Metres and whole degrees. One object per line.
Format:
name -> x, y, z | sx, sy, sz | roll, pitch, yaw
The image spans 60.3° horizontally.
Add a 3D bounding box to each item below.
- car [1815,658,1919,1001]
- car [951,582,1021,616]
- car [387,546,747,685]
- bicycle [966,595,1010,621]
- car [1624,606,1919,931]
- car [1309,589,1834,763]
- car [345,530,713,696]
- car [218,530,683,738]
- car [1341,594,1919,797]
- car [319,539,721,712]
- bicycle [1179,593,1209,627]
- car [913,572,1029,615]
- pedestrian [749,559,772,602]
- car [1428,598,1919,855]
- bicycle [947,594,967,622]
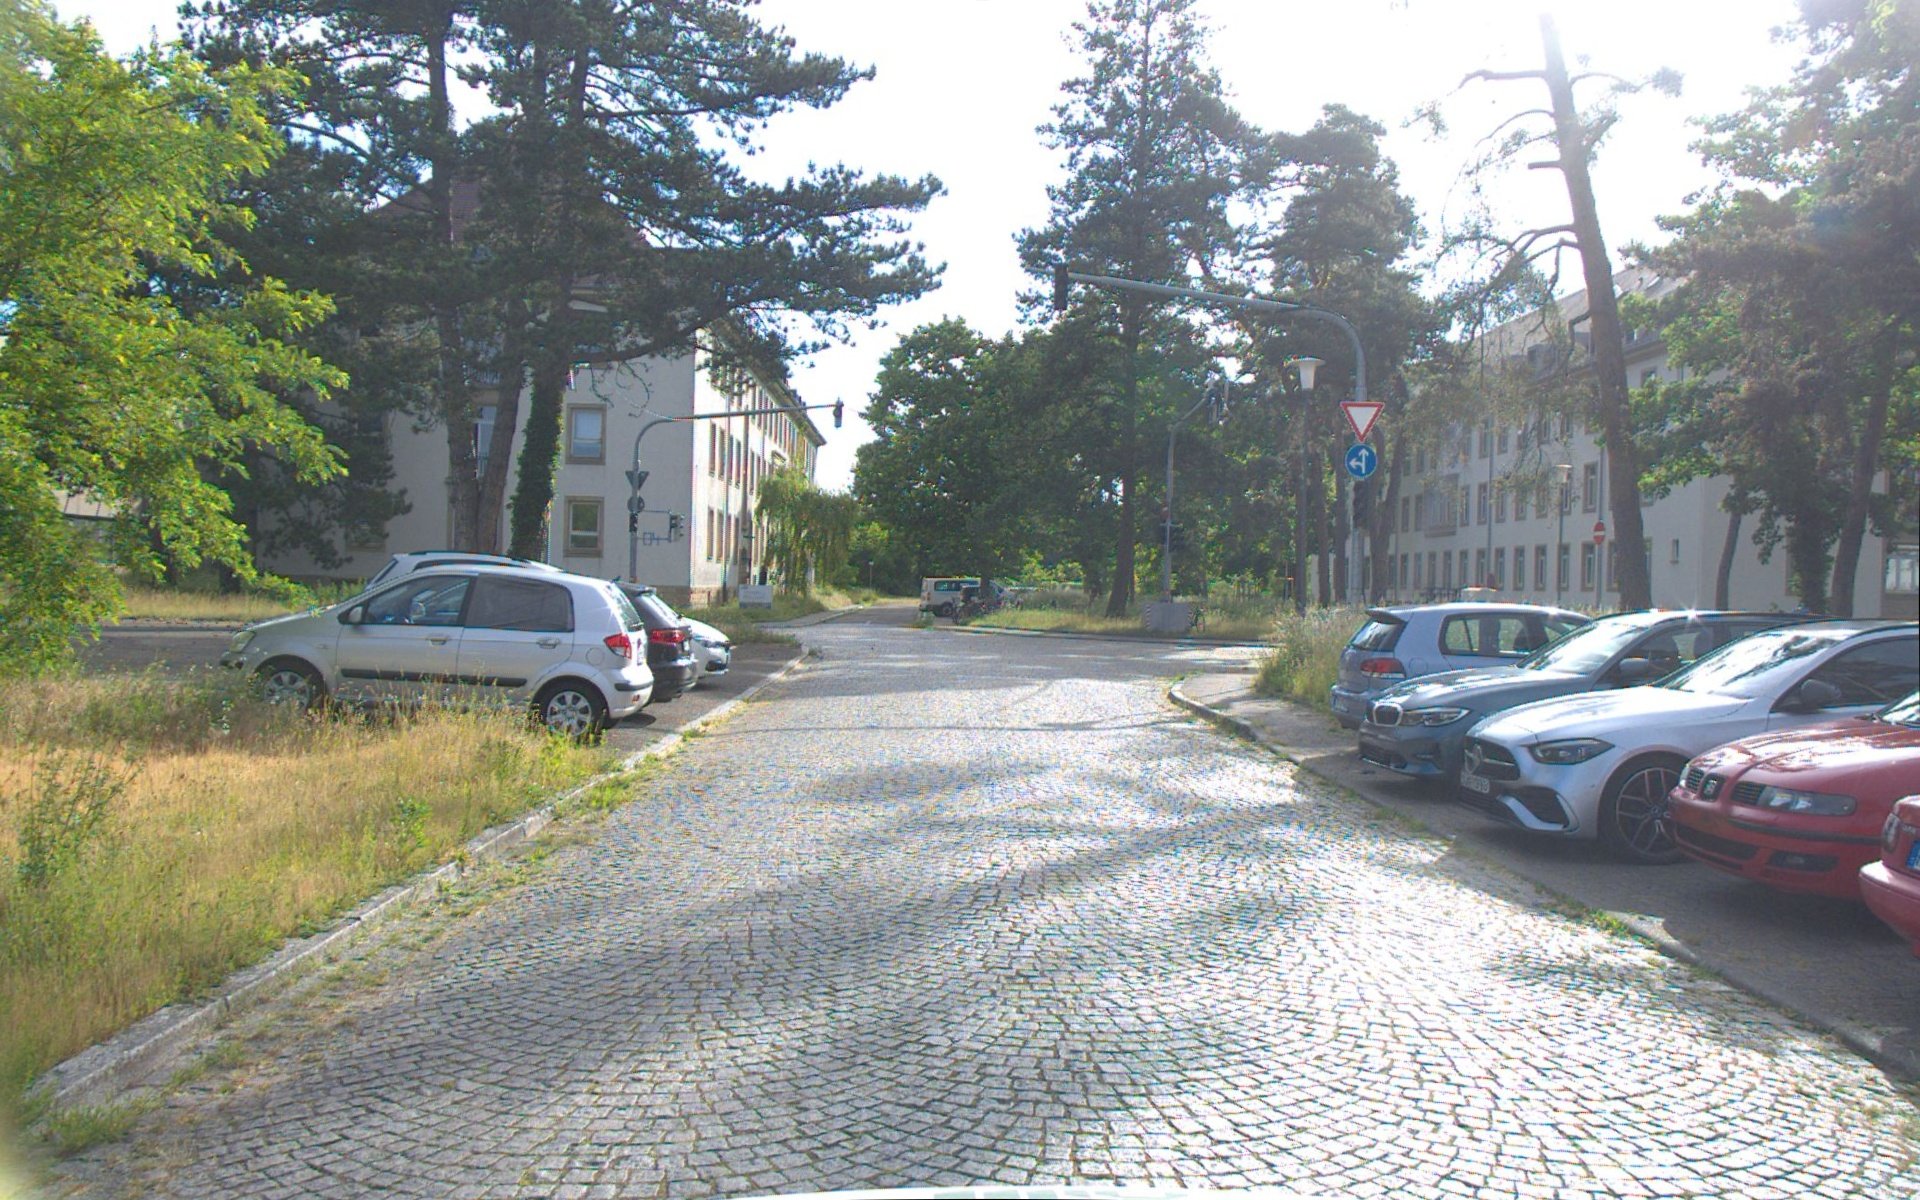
car -> 5.608, 0.925, 6.250 | 3.871, 1.283, 1.726 | 1, 0, -1
car -> 1.249, -0.040, 79.648 | 2.981, 1.491, 1.714 | 2, -1, -14
car -> -5.350, 0.188, 23.019 | 4.497, 1.480, 1.902 | 5, 1, -4
bicycle -> 1.136, 0.327, 68.295 | 1.757, 1.016, 0.644 | 1, 1, -3
car -> 5.944, 0.825, 8.636 | 4.253, 1.499, 1.739 | 1, 0, -2
car -> 5.901, 0.711, 16.310 | 4.453, 1.531, 1.932 | 1, 0, -3
car -> -5.205, 0.159, 20.480 | 4.043, 1.627, 1.856 | 5, 0, -6
car -> -4.518, 0.299, 15.148 | 3.610, 1.499, 1.848 | 5, 0, -3
car -> 5.612, 0.751, 13.677 | 4.419, 1.499, 1.893 | 1, 0, -6
car -> -4.610, 0.265, 17.801 | 3.753, 1.454, 1.858 | 5, 0, -2
bicycle -> 7.521, 0.321, 53.266 | 0.551, 1.016, 1.750 | 1, 1, -5
car -> 0.523, -0.325, 83.196 | 5.410, 1.949, 2.245 | 2, 0, -15
pedestrian -> -9.553, -0.928, 79.345 | 0.965, 1.997, 0.932 | 2, 0, -2
car -> 5.564, 0.782, 10.897 | 4.415, 1.499, 1.849 | 1, 0, -2
bicycle -> -0.104, 0.310, 63.651 | 0.713, 1.016, 1.798 | 1, 1, -1
